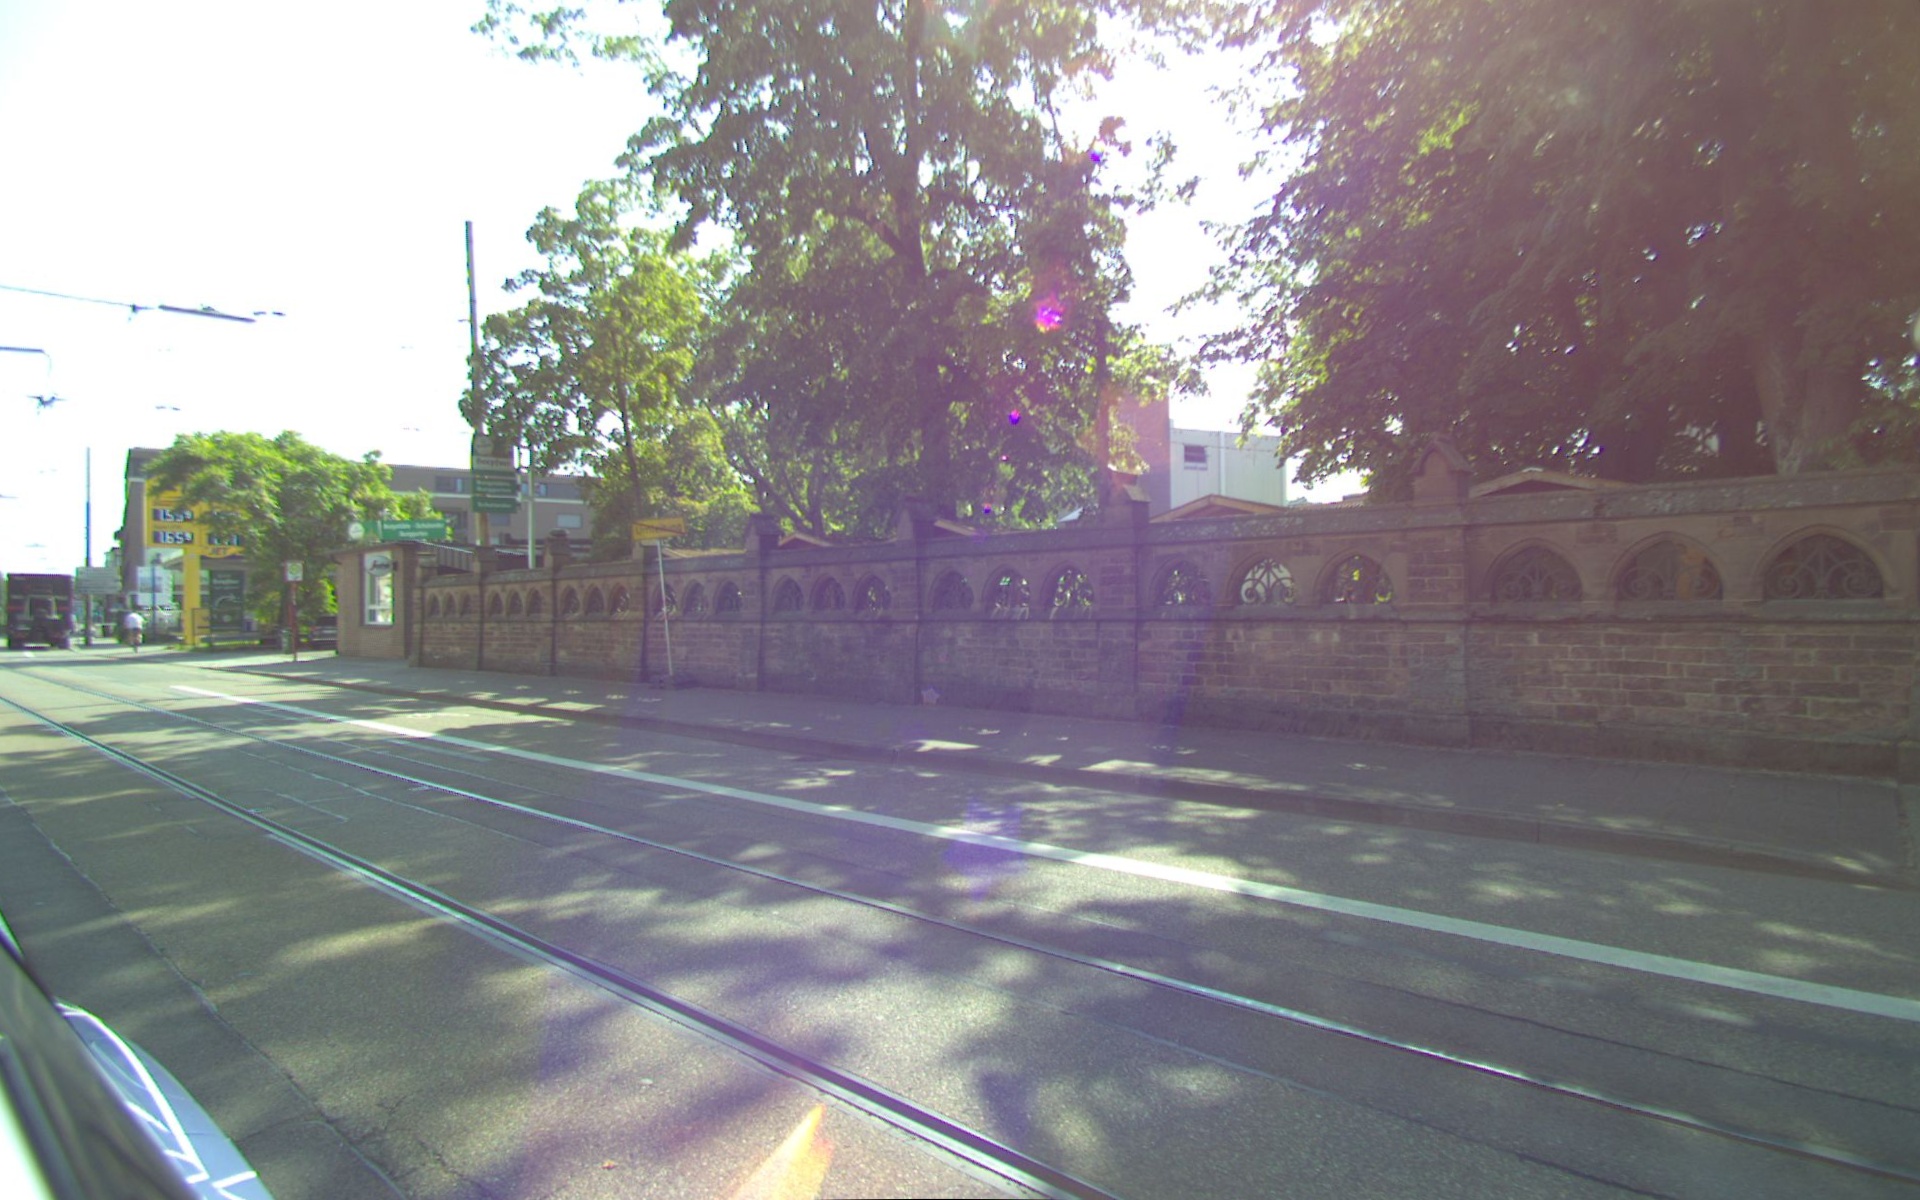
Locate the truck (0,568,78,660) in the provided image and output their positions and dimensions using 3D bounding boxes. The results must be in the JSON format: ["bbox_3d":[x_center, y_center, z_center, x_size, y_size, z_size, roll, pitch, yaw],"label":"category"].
[{"bbox_3d":[-51.631,0.797,56.597,3.127,4.487,16.859,-1,0,-42],"label":"truck"}]

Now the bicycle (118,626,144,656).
[{"bbox_3d":[-37.120,1.808,45.342,0.775,1.249,2.039,0,1,-36],"label":"bicycle"}]

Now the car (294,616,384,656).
[{"bbox_3d":[-25.418,1.440,41.612,1.905,1.472,4.540,-1,0,-15],"label":"car"}]

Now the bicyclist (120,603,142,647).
[{"bbox_3d":[-37.188,1.104,45.402,0.632,1.944,1.178,-1,0,-34],"label":"bicyclist"}]
